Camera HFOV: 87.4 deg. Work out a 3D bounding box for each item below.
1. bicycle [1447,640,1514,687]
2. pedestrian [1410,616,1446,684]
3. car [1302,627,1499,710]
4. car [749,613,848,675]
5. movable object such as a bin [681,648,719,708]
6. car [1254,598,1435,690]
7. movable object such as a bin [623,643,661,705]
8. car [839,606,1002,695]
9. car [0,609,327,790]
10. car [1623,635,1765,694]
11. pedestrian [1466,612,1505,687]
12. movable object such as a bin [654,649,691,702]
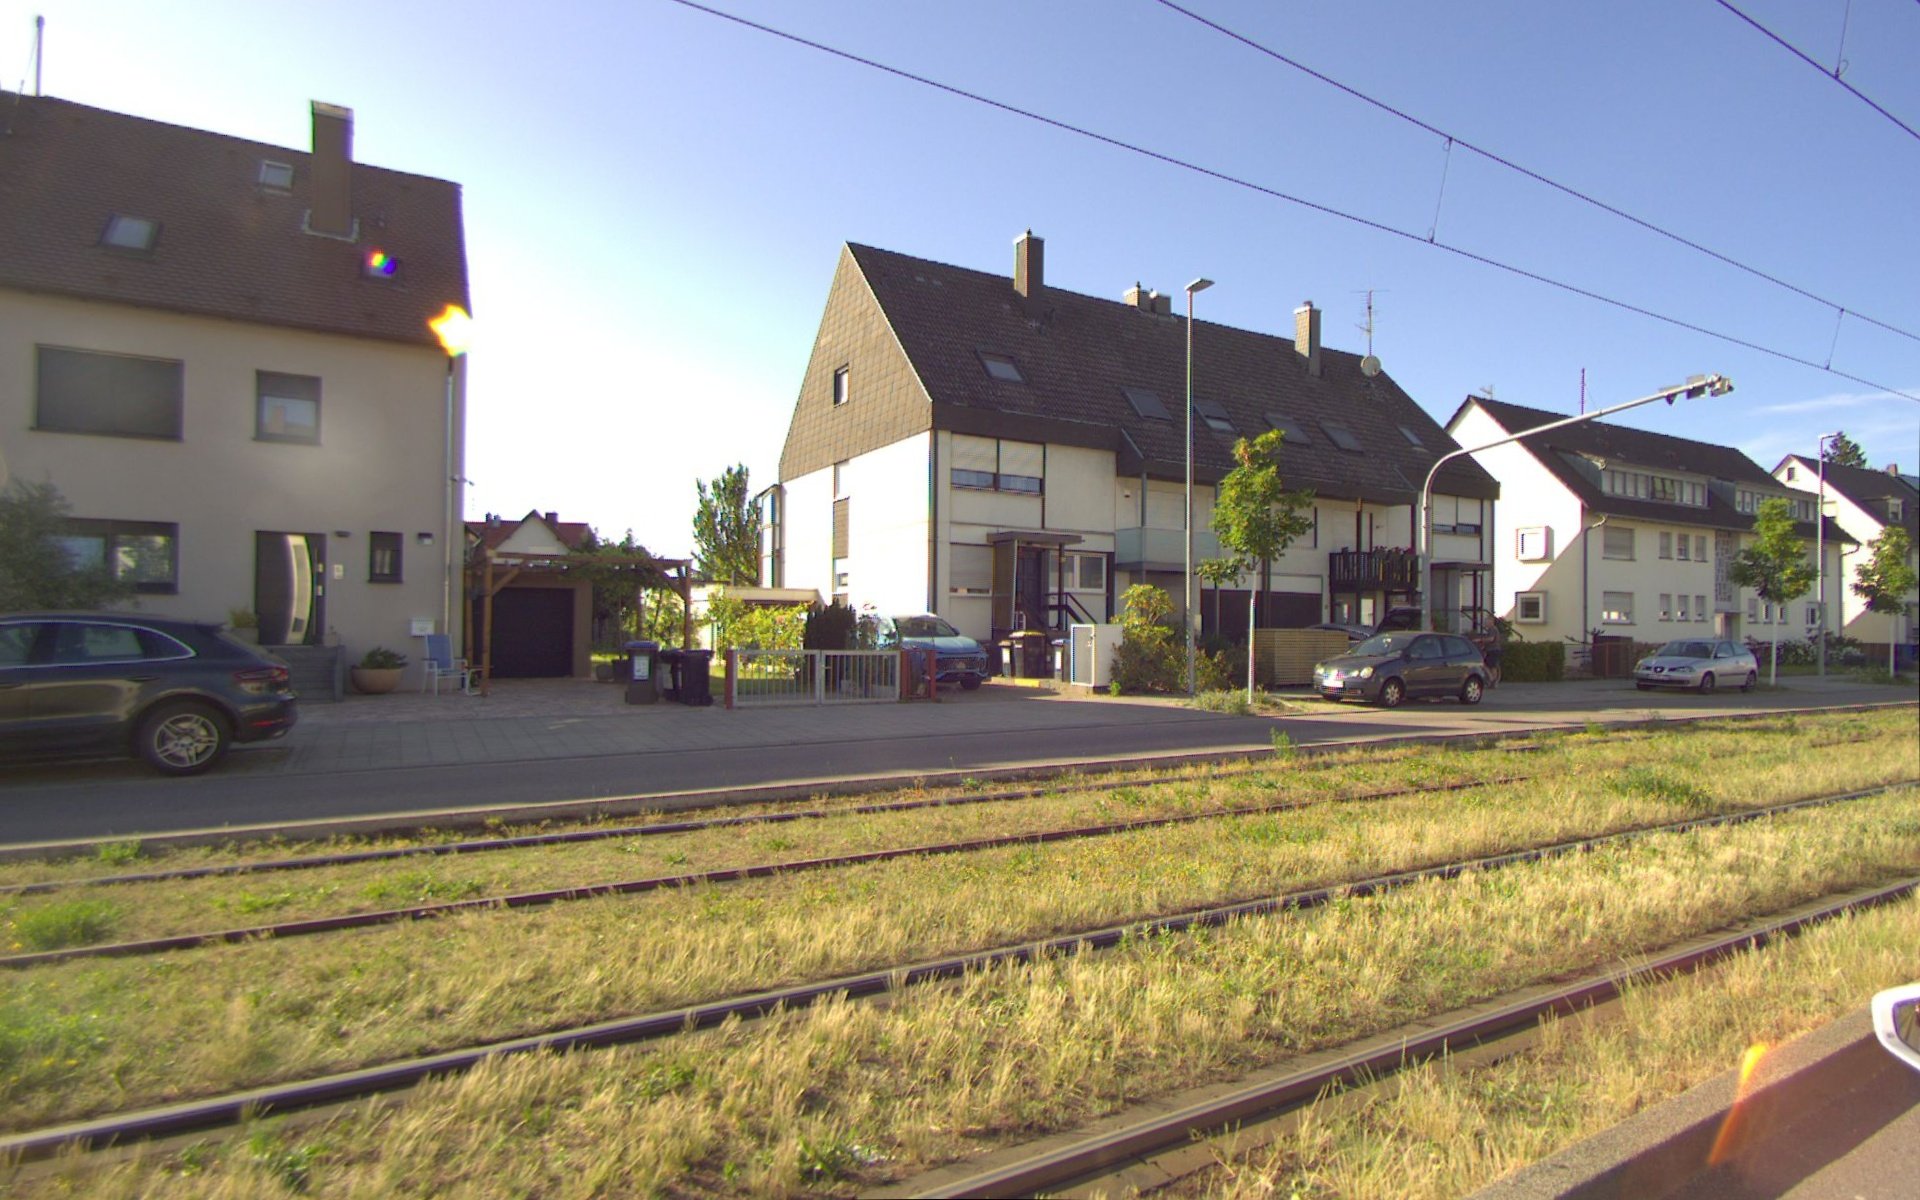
[{"bbox_3d":[13.377,1.631,25.799,1.845,1.178,0.476,2,0,-24],"label":"bicycle"},{"bbox_3d":[12.054,1.283,25.876,0.613,1.710,0.551,2,0,-14],"label":"pedestrian"},{"bbox_3d":[9.062,1.350,20.602,4.034,1.532,1.612,1,-1,-29],"label":"car"},{"bbox_3d":[-4.603,1.171,28.183,1.492,1.614,3.817,1,-1,-30],"label":"car"},{"bbox_3d":[-4.378,1.305,16.909,0.599,0.959,0.197,0,1,-27],"label":"movable object such as a bin"},{"bbox_3d":[10.273,1.105,27.183,1.765,2.108,4.442,2,2,-28],"label":"car"},{"bbox_3d":[-5.399,1.249,17.058,0.599,1.027,0.197,0,1,-27],"label":"movable object such as a bin"},{"bbox_3d":[-1.008,1.052,22.656,1.946,1.807,4.373,1,-1,-29],"label":"car"},{"bbox_3d":[-9.102,0.906,9.840,4.803,1.581,1.911,2,0,-31],"label":"car"},{"bbox_3d":[19.816,1.698,27.087,4.055,1.455,1.650,1,-1,-31],"label":"car"},{"bbox_3d":[13.236,1.227,25.288,0.672,1.839,0.610,2,0,-38],"label":"pedestrian"},{"bbox_3d":[-5.049,1.324,17.649,0.595,0.898,0.198,0,1,11],"label":"movable object such as a bin"}]
